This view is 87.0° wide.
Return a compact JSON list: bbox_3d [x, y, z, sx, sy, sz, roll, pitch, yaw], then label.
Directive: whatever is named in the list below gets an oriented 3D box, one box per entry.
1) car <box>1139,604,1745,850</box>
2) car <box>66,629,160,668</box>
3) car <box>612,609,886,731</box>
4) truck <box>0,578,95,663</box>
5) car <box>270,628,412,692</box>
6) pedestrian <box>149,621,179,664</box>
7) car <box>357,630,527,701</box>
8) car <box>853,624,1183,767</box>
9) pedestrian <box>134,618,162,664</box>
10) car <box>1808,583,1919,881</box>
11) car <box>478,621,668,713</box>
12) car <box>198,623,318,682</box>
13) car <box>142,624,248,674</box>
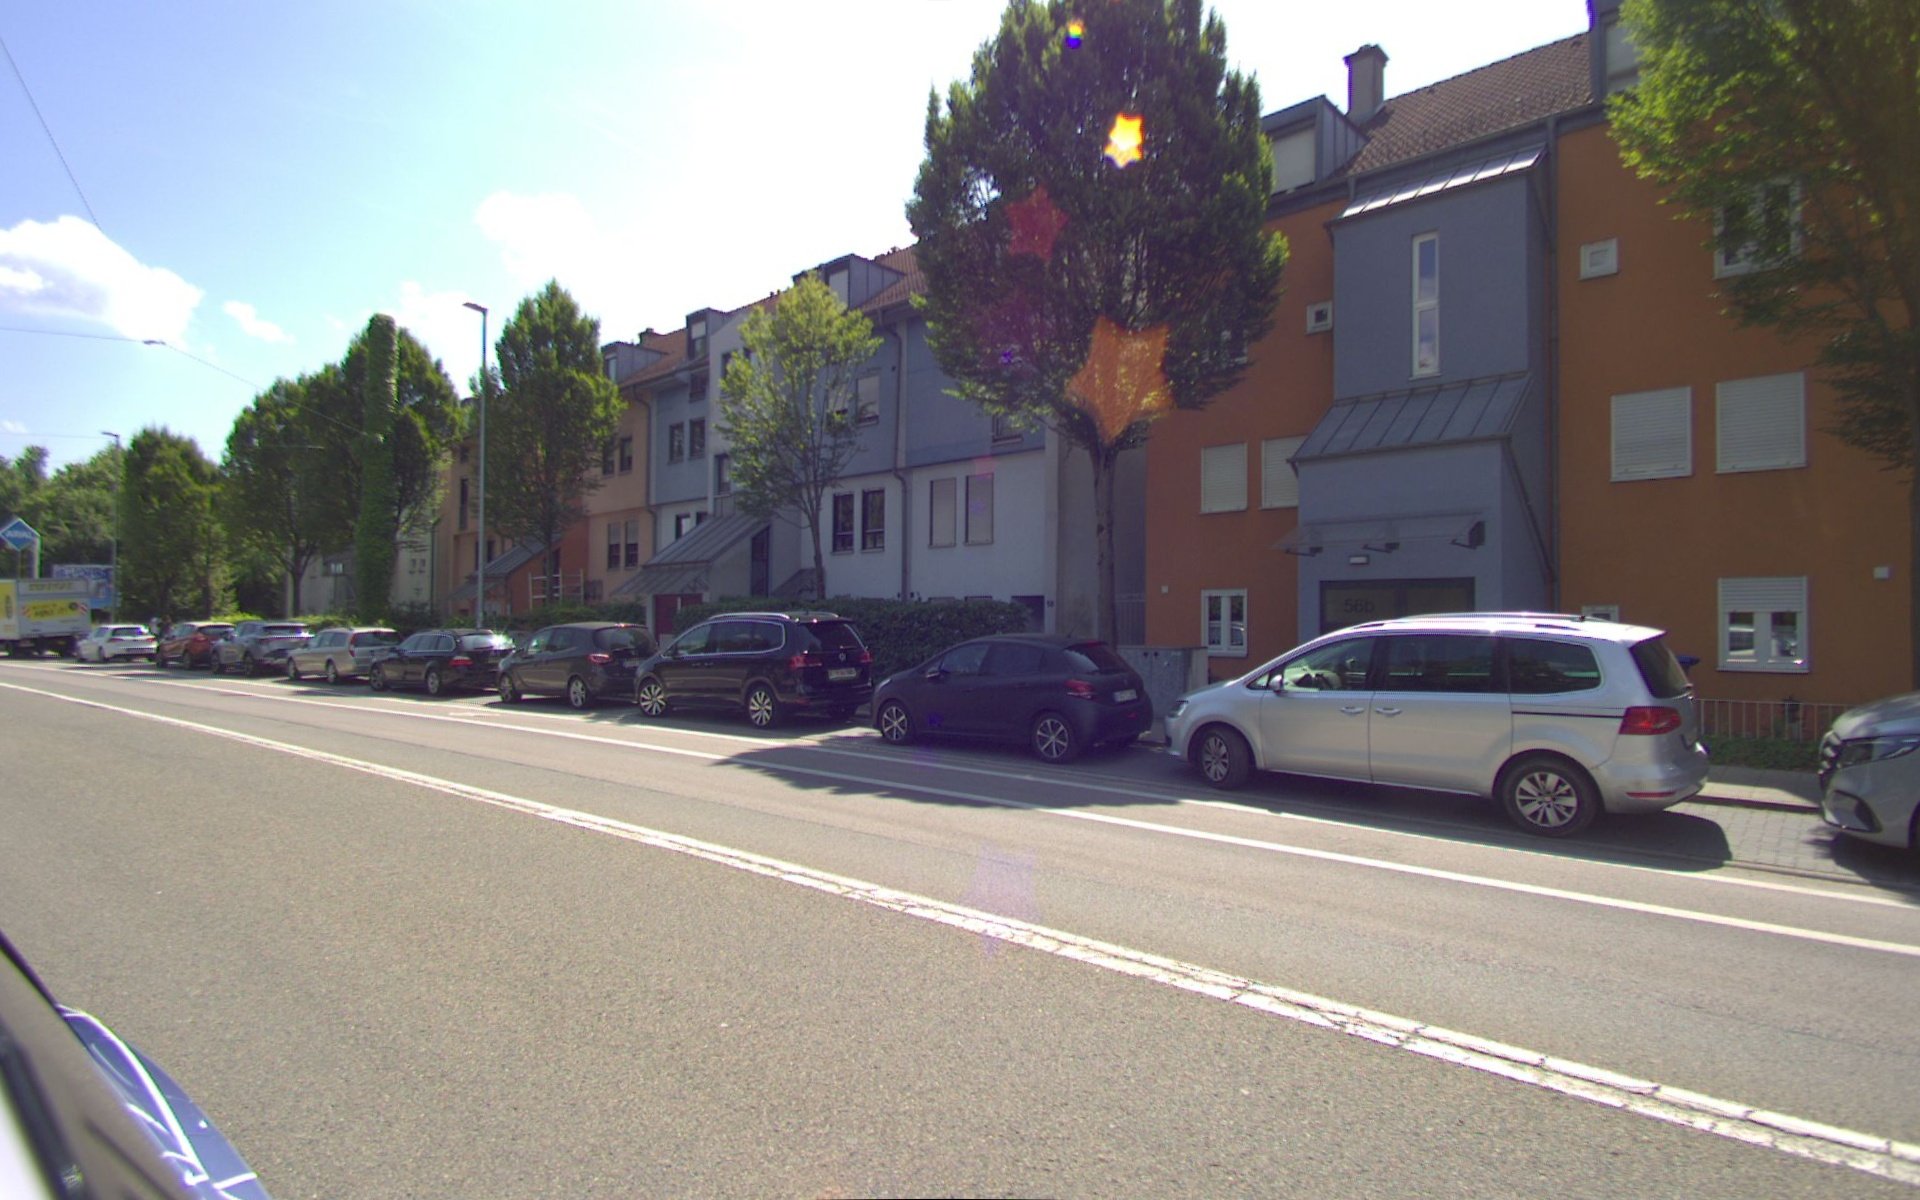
[{"bbox_3d":[4.253,0.949,9.562,4.902,1.765,1.698,-1,-1,42],"label":"car"},{"bbox_3d":[-32.983,1.859,39.362,4.385,1.421,1.642,-1,-3,34],"label":"car"},{"bbox_3d":[-3.570,1.076,16.587,4.883,1.729,1.733,-2,-3,40],"label":"car"},{"bbox_3d":[-42.810,0.926,46.338,8.149,3.575,2.808,-1,0,34],"label":"truck"},{"bbox_3d":[-17.062,1.570,27.785,4.887,1.519,1.640,0,0,37],"label":"car"},{"bbox_3d":[-33.521,1.797,42.615,0.695,1.809,0.682,0,-2,7],"label":"pedestrian"},{"bbox_3d":[-12.260,1.470,23.827,4.818,1.457,1.725,-1,-1,38],"label":"car"},{"bbox_3d":[0.633,1.096,13.004,4.084,1.482,1.582,0,-1,40],"label":"car"},{"bbox_3d":[-34.331,1.741,42.795,0.633,1.937,0.710,1,-2,-13],"label":"pedestrian"},{"bbox_3d":[8.489,0.823,5.884,5.361,1.909,1.787,-1,2,43],"label":"car"},{"bbox_3d":[-7.785,1.260,20.187,4.281,1.630,1.639,-1,-3,40],"label":"car"},{"bbox_3d":[-21.535,1.570,30.983,4.679,1.621,1.640,-1,0,37],"label":"car"},{"bbox_3d":[-26.190,1.623,34.605,4.163,1.622,1.642,-1,-2,34],"label":"car"}]
